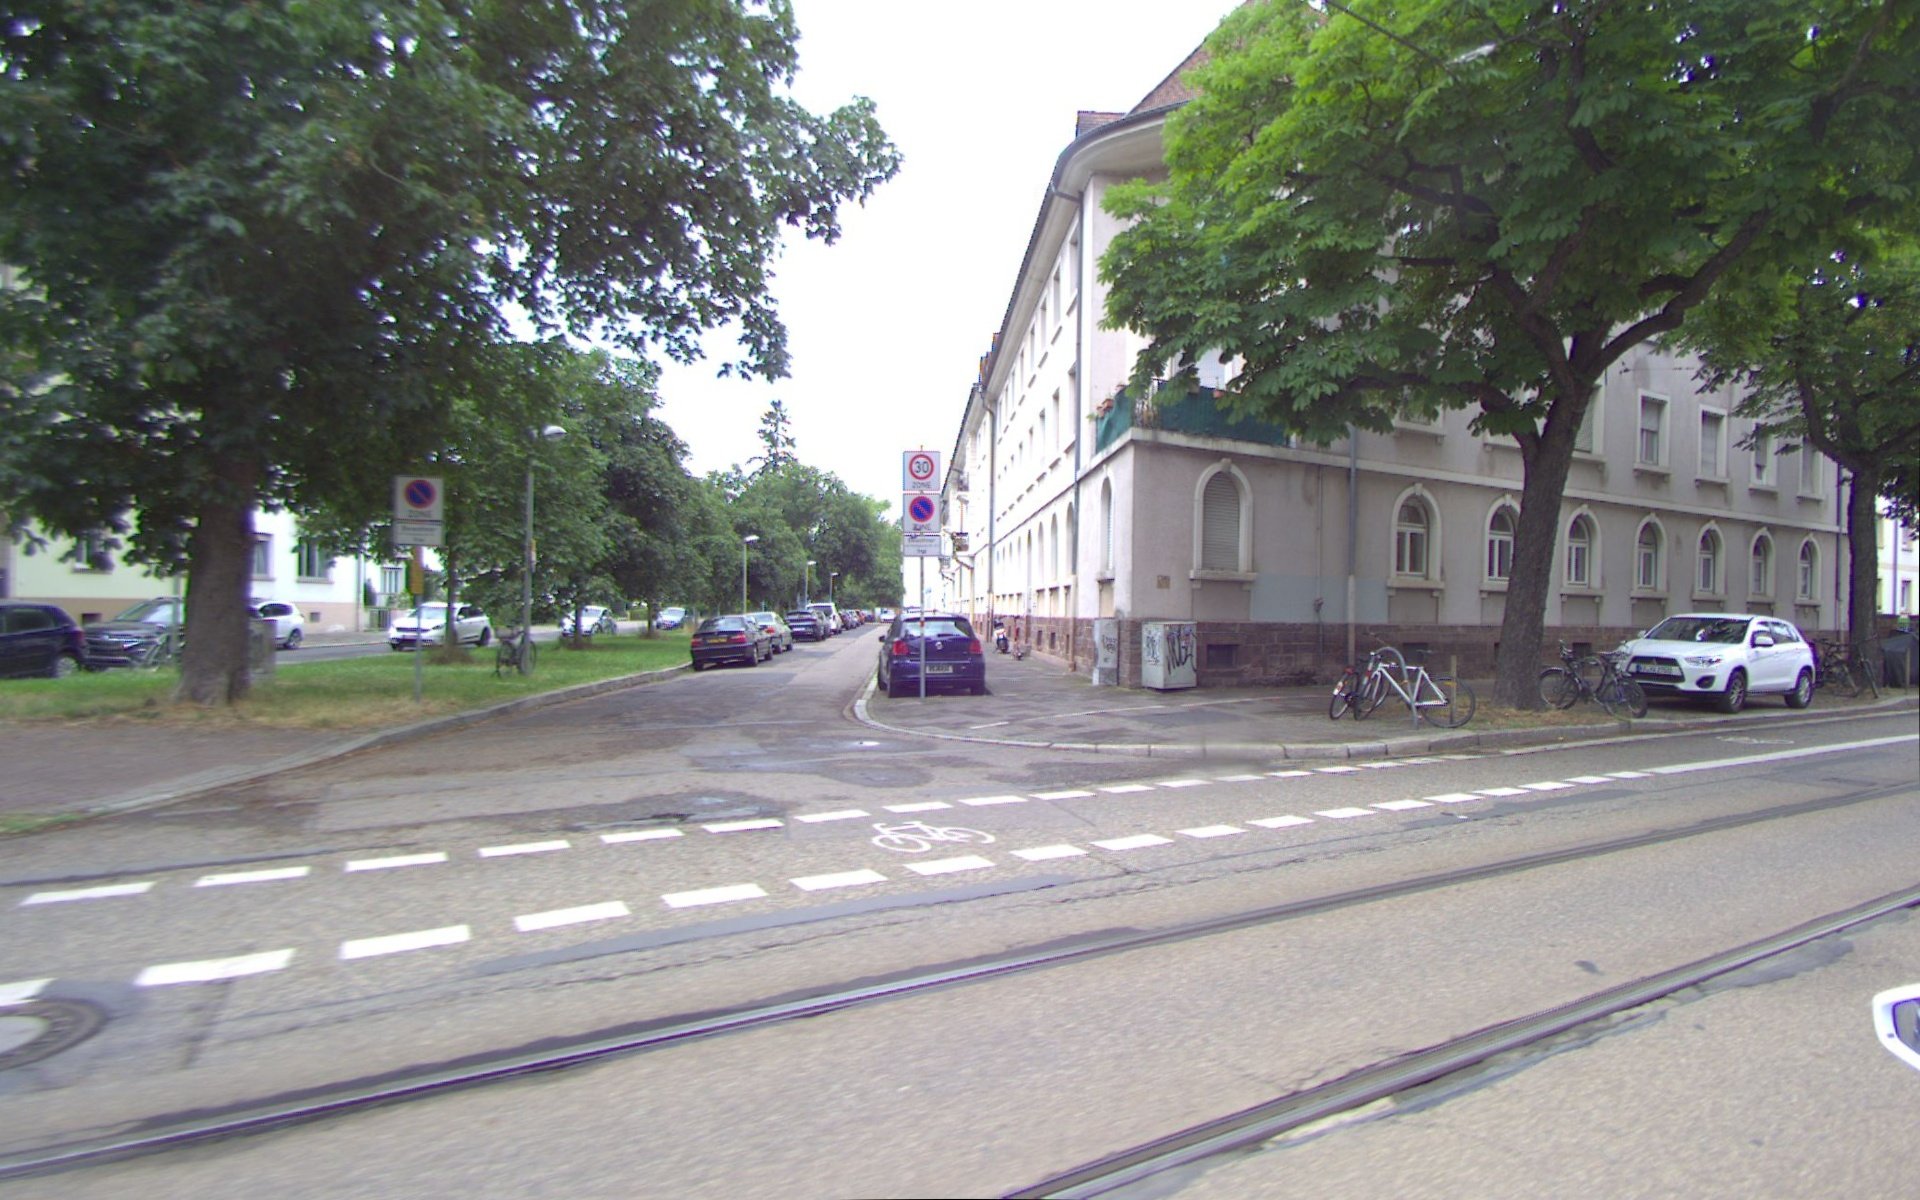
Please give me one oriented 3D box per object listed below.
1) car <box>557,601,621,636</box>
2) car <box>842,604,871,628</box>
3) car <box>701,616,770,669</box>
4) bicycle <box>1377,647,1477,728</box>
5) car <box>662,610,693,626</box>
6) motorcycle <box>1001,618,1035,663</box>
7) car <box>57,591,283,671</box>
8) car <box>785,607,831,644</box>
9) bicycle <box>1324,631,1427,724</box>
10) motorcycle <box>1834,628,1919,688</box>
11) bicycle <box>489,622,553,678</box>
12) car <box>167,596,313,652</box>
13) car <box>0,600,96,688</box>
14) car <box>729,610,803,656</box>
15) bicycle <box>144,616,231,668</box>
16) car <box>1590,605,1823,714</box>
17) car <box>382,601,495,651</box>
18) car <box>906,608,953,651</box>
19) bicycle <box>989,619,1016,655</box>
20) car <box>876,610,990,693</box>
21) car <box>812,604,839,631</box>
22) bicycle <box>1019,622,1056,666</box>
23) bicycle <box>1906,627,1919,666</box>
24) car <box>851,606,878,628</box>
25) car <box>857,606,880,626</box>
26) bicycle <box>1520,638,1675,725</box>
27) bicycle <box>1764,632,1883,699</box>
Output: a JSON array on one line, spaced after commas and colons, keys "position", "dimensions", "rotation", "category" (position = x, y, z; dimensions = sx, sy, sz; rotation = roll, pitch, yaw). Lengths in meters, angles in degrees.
[{"position": [-17.924, 0.879, 48.728], "dimensions": [1.729, 1.573, 4.187], "rotation": [1, 0, -4], "category": "car"}, {"position": [-7.408, 1.155, 72.279], "dimensions": [1.863, 1.632, 4.498], "rotation": [1, 0, -3], "category": "car"}, {"position": [-6.133, 1.125, 27.674], "dimensions": [1.329, 1.317, 2.967], "rotation": [-1, 0, -2], "category": "car"}, {"position": [6.038, 1.105, 12.963], "dimensions": [1.382, 0.971, 0.481], "rotation": [1, 0, -31], "category": "bicycle"}, {"position": [-18.750, 1.199, 66.734], "dimensions": [1.273, 1.002, 3.166], "rotation": [1, 0, -4], "category": "car"}, {"position": [1.611, 1.114, 28.583], "dimensions": [0.666, 1.149, 3.455], "rotation": [1, 0, -1], "category": "motorcycle"}, {"position": [-16.551, 0.588, 21.356], "dimensions": [1.670, 1.500, 4.187], "rotation": [1, 0, -4], "category": "car"}, {"position": [-6.950, 1.148, 46.275], "dimensions": [1.812, 1.554, 3.997], "rotation": [1, 0, -5], "category": "car"}, {"position": [5.751, 1.025, 13.845], "dimensions": [0.667, 1.151, 1.924], "rotation": [0, 0, 44], "category": "bicycle"}, {"position": [21.412, 1.322, 23.125], "dimensions": [2.284, 1.305, 0.863], "rotation": [1, 0, -17], "category": "motorcycle"}, {"position": [-8.119, 0.910, 18.648], "dimensions": [0.440, 0.937, 1.674], "rotation": [4, 0, -2], "category": "bicycle"}, {"position": [-22.178, 0.724, 31.168], "dimensions": [1.739, 1.572, 4.150], "rotation": [2, -1, -4], "category": "car"}, {"position": [-16.263, 0.713, 16.044], "dimensions": [1.633, 1.364, 4.008], "rotation": [1, 0, -4], "category": "car"}, {"position": [-6.590, 1.088, 34.465], "dimensions": [1.640, 1.428, 4.001], "rotation": [1, 0, 2], "category": "car"}, {"position": [-14.297, 0.758, 18.632], "dimensions": [0.569, 0.908, 1.395], "rotation": [1, 0, -2], "category": "bicycle"}, {"position": [13.221, 0.985, 17.748], "dimensions": [4.178, 1.677, 1.887], "rotation": [1, 0, -32], "category": "car"}, {"position": [-17.157, 0.838, 33.292], "dimensions": [1.768, 1.573, 4.187], "rotation": [0, -1, -4], "category": "car"}, {"position": [-1.173, 1.053, 37.241], "dimensions": [1.642, 1.460, 3.498], "rotation": [1, 0, -3], "category": "car"}, {"position": [1.333, 1.160, 32.110], "dimensions": [0.641, 1.049, 2.190], "rotation": [1, 0, -3], "category": "bicycle"}, {"position": [-0.586, 0.856, 18.134], "dimensions": [1.708, 1.324, 3.757], "rotation": [1, -1, -7], "category": "car"}, {"position": [-7.476, 0.961, 56.003], "dimensions": [1.270, 1.409, 3.116], "rotation": [1, 0, -4], "category": "car"}, {"position": [1.895, 1.064, 24.865], "dimensions": [0.681, 1.014, 2.023], "rotation": [1, 0, -2], "category": "bicycle"}, {"position": [36.309, 1.743, 37.698], "dimensions": [2.116, 1.400, 0.624], "rotation": [1, 0, -31], "category": "bicycle"}, {"position": [-7.474, 1.323, 78.806], "dimensions": [1.863, 1.632, 4.498], "rotation": [1, 0, -3], "category": "car"}, {"position": [-8.048, 1.385, 88.521], "dimensions": [1.863, 1.632, 4.498], "rotation": [1, 0, -3], "category": "car"}, {"position": [9.780, 1.216, 15.491], "dimensions": [0.616, 1.136, 1.913], "rotation": [1, 1, -30], "category": "bicycle"}, {"position": [17.634, 1.323, 20.566], "dimensions": [0.642, 1.208, 1.743], "rotation": [1, 1, -15], "category": "bicycle"}]
